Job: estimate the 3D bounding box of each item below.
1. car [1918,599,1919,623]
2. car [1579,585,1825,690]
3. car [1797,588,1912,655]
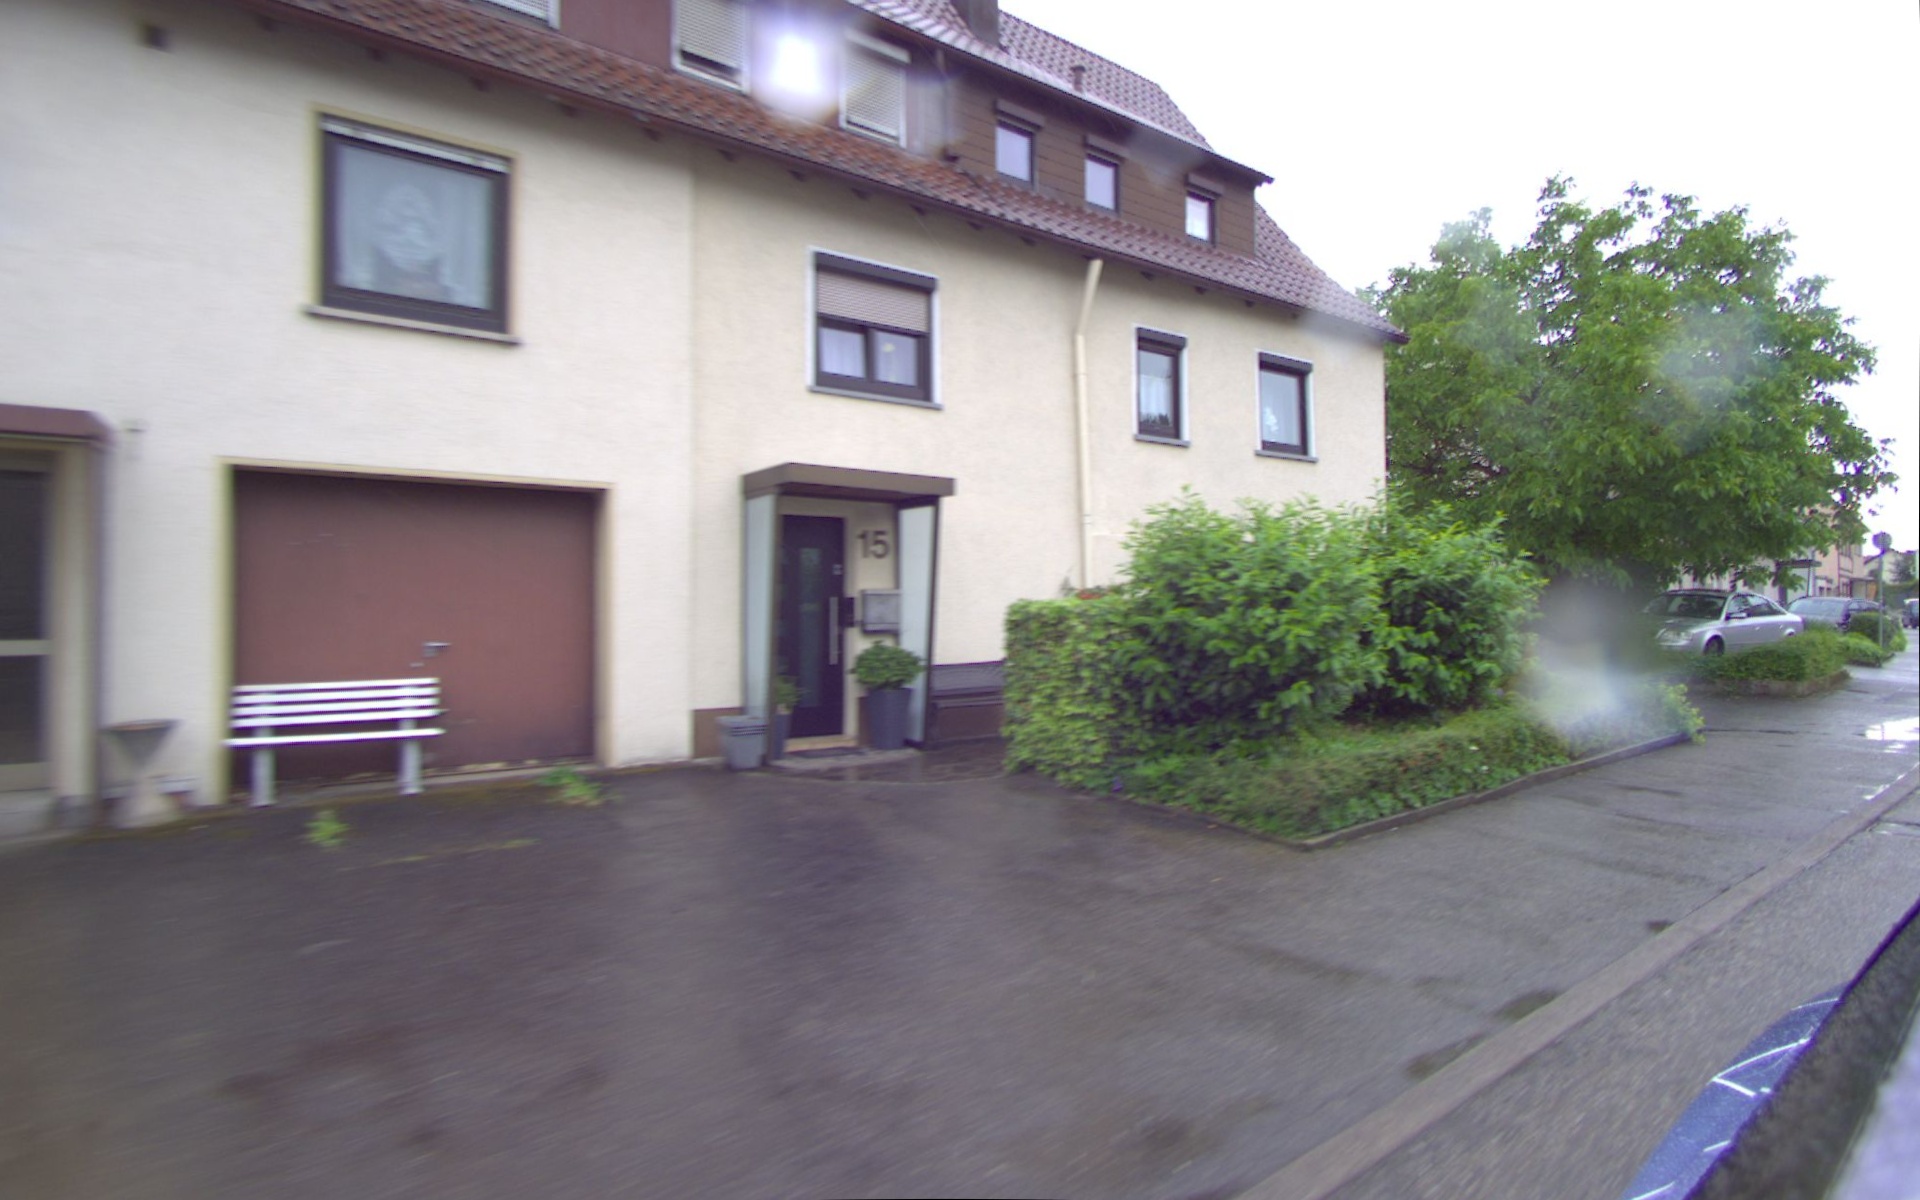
[{"bbox_3d":[62.839,0.696,64.800,1.992,1.550,3.939,-3,-3,42],"label":"car"},{"bbox_3d":[13.710,0.625,18.664,4.388,1.733,1.916,0,-1,-28],"label":"car"},{"bbox_3d":[24.002,0.546,27.120,4.003,1.675,1.994,0,-1,-44],"label":"car"}]
